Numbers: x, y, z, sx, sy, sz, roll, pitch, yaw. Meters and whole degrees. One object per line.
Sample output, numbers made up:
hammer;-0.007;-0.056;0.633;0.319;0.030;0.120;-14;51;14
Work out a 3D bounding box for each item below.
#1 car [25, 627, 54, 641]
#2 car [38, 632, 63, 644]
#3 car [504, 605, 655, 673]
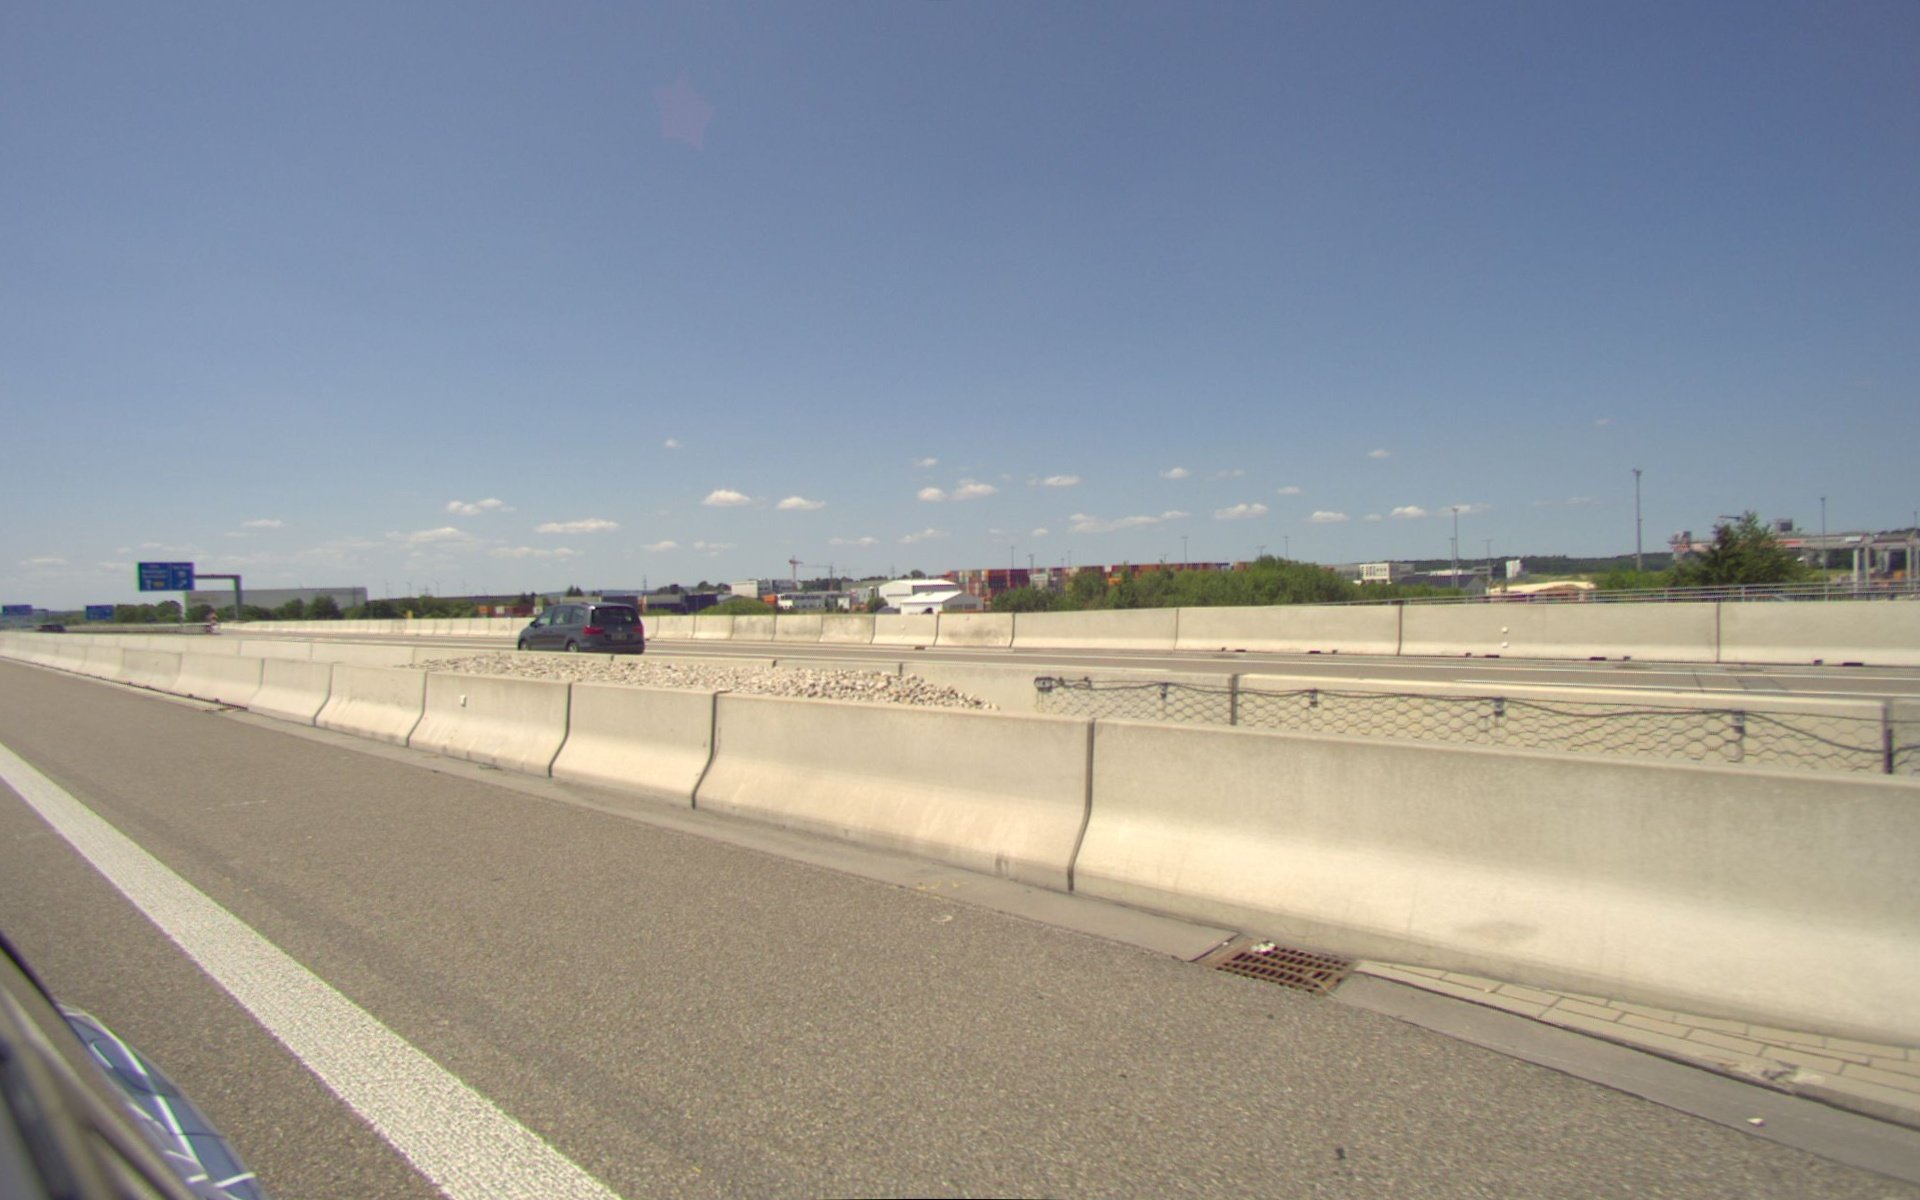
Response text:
car;-100.958;3.698;111.021;4.907;1.431;1.892;-2;-1;42
car;-117.327;4.941;130.559;4.549;1.431;1.890;-2;-1;42
car;-10.621;1.051;28.028;5.015;1.699;1.864;-2;-1;43
